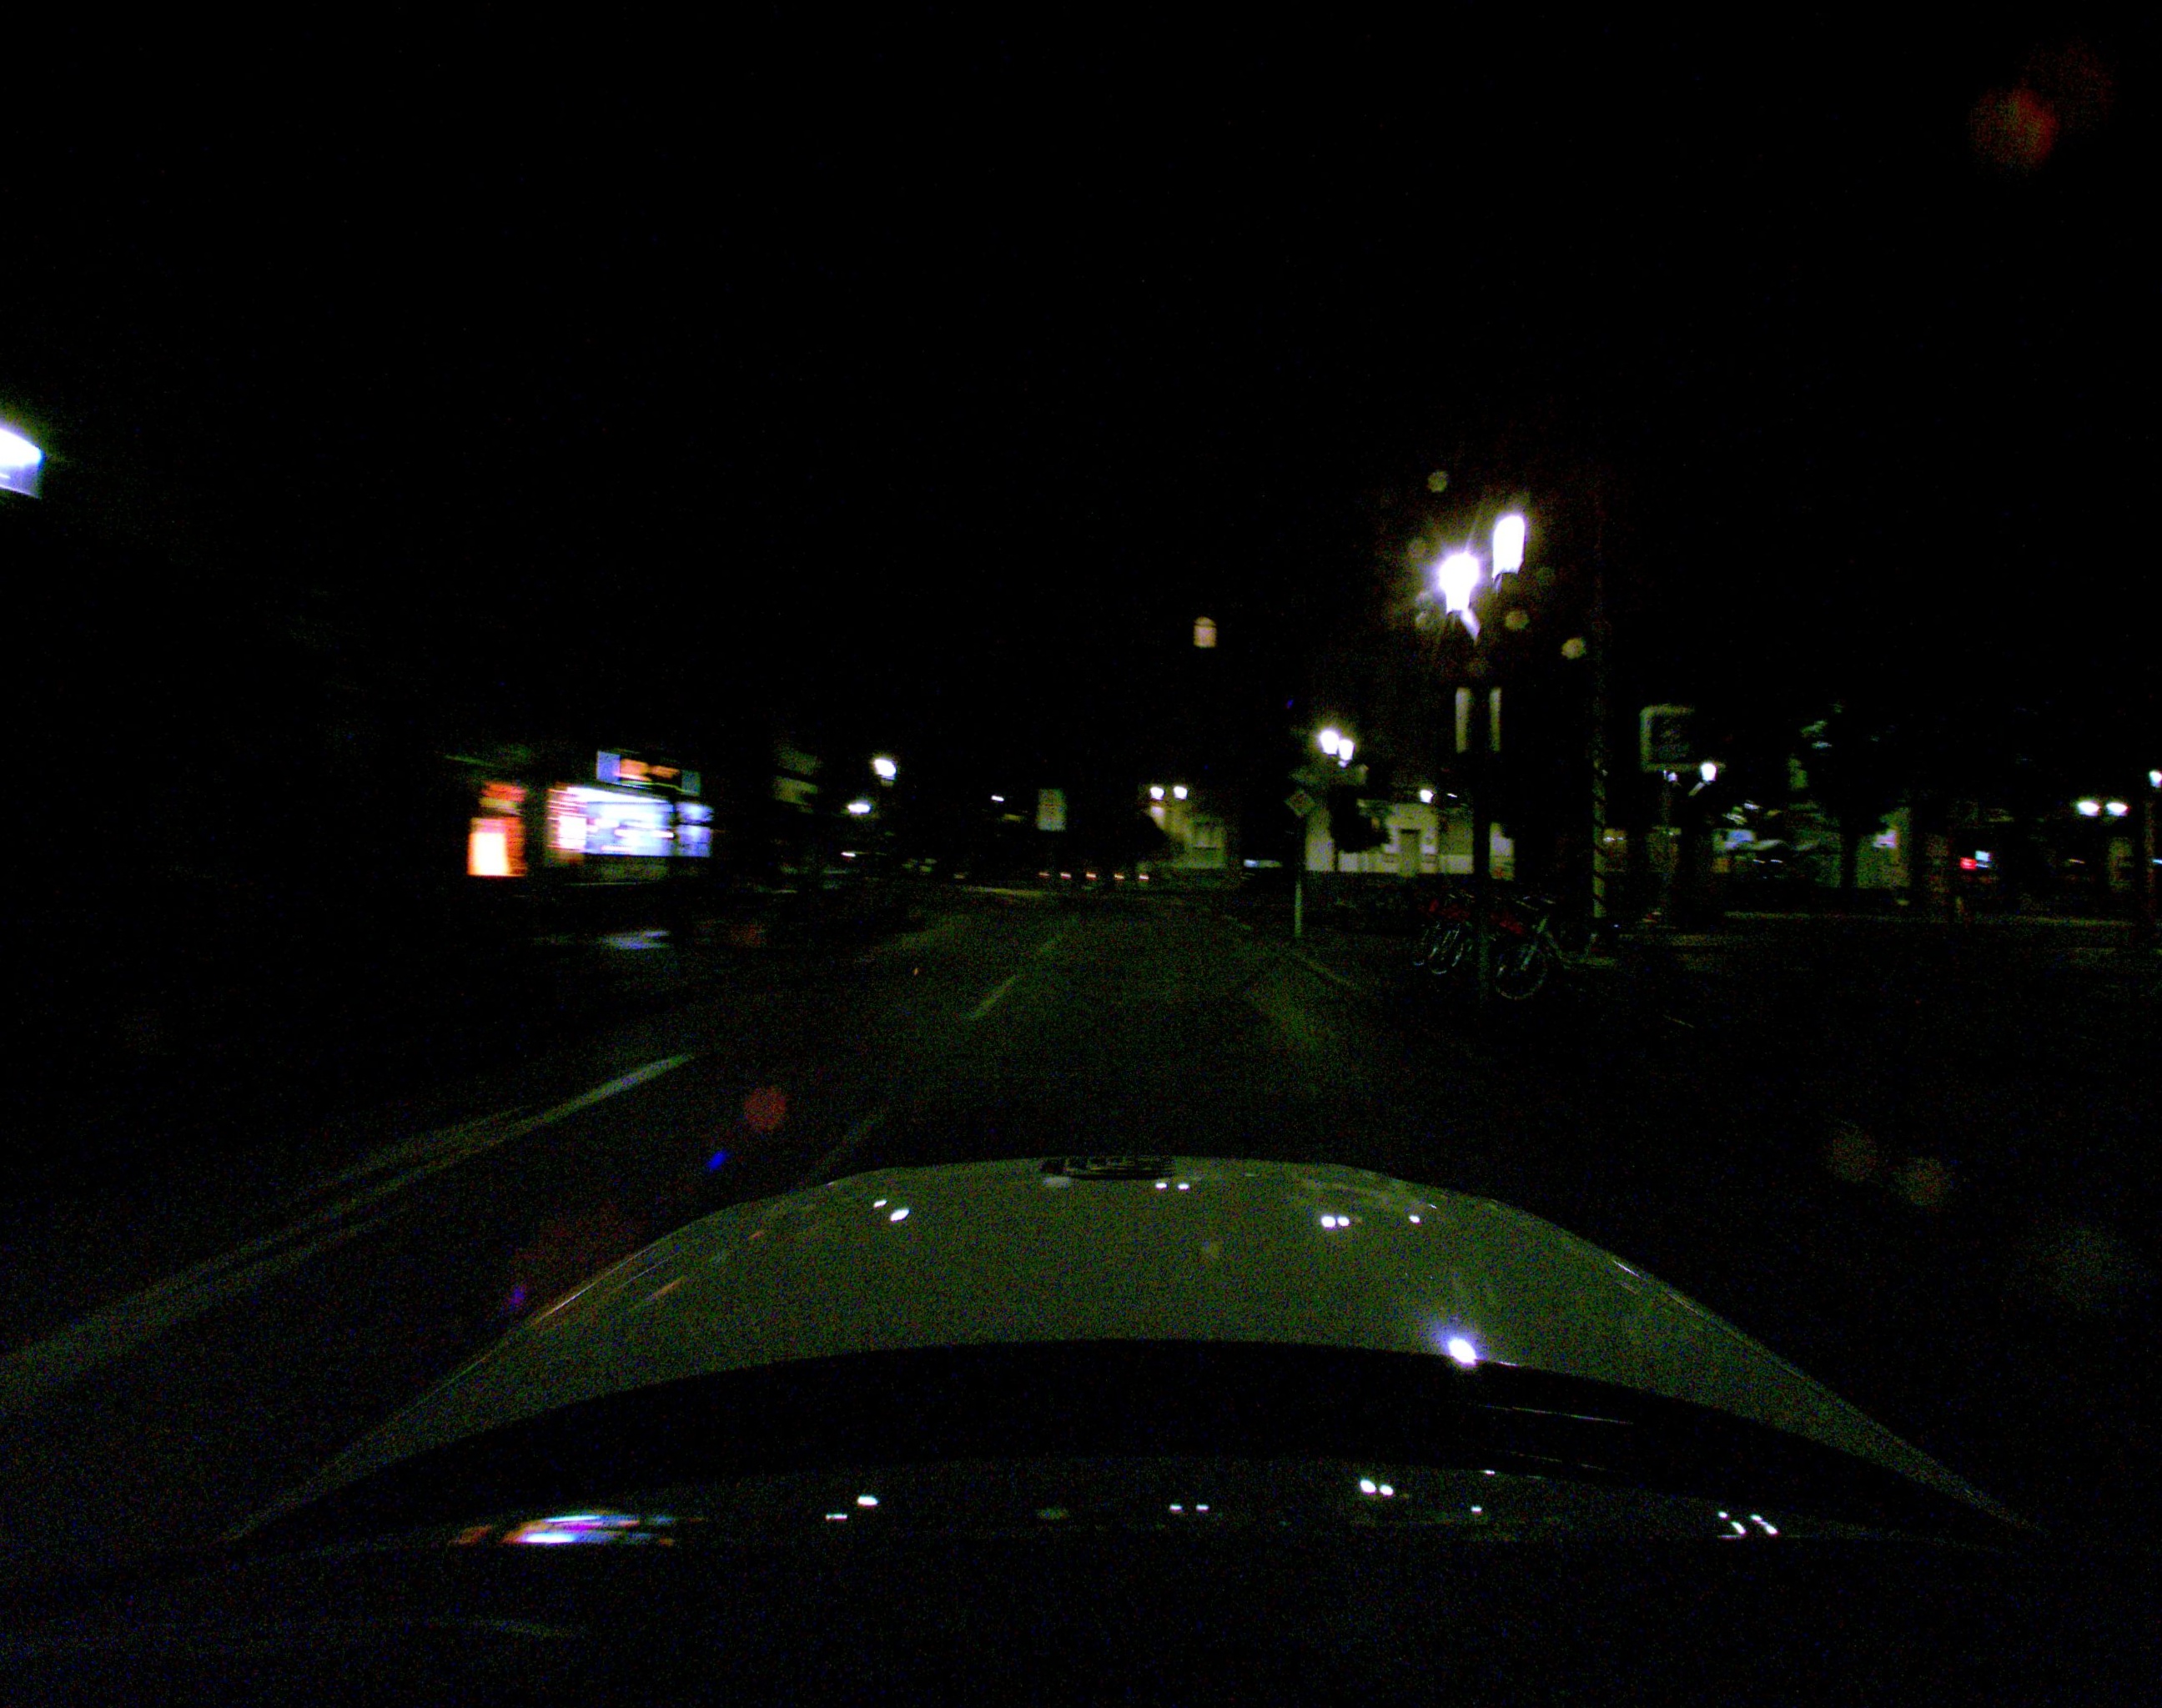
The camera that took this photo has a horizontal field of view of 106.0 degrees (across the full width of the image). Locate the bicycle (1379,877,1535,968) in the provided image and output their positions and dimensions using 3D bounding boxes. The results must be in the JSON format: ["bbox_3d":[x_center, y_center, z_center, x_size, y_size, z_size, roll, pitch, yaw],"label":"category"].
[{"bbox_3d":[5.096,0.915,11.110,1.776,1.151,0.760,1,0,0],"label":"bicycle"}]

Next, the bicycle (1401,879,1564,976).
[{"bbox_3d":[5.074,0.919,10.346,1.766,1.151,0.614,1,-1,0],"label":"bicycle"}]

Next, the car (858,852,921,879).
[{"bbox_3d":[-11.601,0.658,49.101,1.747,1.501,4.413,1,0,-43],"label":"car"}]

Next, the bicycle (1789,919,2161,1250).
[{"bbox_3d":[3.996,0.867,3.266,1.782,1.134,0.629,1,-1,0],"label":"bicycle"}]

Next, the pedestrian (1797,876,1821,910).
[{"bbox_3d":[28.601,1.538,32.003,0.463,1.299,0.515,1,-1,5],"label":"pedestrian"}]

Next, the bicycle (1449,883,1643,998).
[{"bbox_3d":[5.065,0.923,8.946,1.763,1.151,0.583,1,-1,6],"label":"bicycle"}]

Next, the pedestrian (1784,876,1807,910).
[{"bbox_3d":[28.128,1.528,32.046,0.463,1.299,0.515,1,-1,5],"label":"pedestrian"}]

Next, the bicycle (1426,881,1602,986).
[{"bbox_3d":[5.079,0.920,9.615,1.766,1.151,0.582,1,-1,0],"label":"bicycle"}]

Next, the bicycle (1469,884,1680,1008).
[{"bbox_3d":[4.999,0.909,8.323,1.763,1.151,0.583,1,-1,6],"label":"bicycle"}]

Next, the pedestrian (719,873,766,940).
[{"bbox_3d":[-6.198,0.949,14.930,0.573,1.164,0.677,1,-1,-2],"label":"pedestrian"}]

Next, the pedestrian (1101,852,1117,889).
[{"bbox_3d":[1.306,0.770,38.585,0.480,1.709,0.564,1,0,-41],"label":"pedestrian"}]

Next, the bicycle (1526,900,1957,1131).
[{"bbox_3d":[3.640,0.862,4.599,1.859,1.134,0.725,1,-1,0],"label":"bicycle"}]

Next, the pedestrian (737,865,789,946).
[{"bbox_3d":[-5.582,0.891,14.308,0.674,1.378,0.576,1,-1,-2],"label":"pedestrian"}]

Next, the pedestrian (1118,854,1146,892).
[{"bbox_3d":[2.255,0.815,35.939,0.954,1.631,0.814,1,-1,32],"label":"pedestrian"}]

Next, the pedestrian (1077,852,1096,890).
[{"bbox_3d":[0.269,0.774,37.403,0.511,1.709,0.696,1,0,-41],"label":"pedestrian"}]

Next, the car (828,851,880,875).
[{"bbox_3d":[-14.798,0.576,53.021,1.751,1.454,3.954,1,0,-40],"label":"car"}]

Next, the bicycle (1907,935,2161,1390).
[{"bbox_3d":[3.646,0.857,2.459,1.648,1.134,0.642,1,-1,1],"label":"bicycle"}]

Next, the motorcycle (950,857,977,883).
[{"bbox_3d":[-6.214,0.818,43.139,0.755,1.353,1.951,1,0,13],"label":"motorcycle"}]

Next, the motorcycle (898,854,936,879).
[{"bbox_3d":[-9.507,0.707,47.231,0.912,1.406,2.072,1,1,39],"label":"motorcycle"}]
